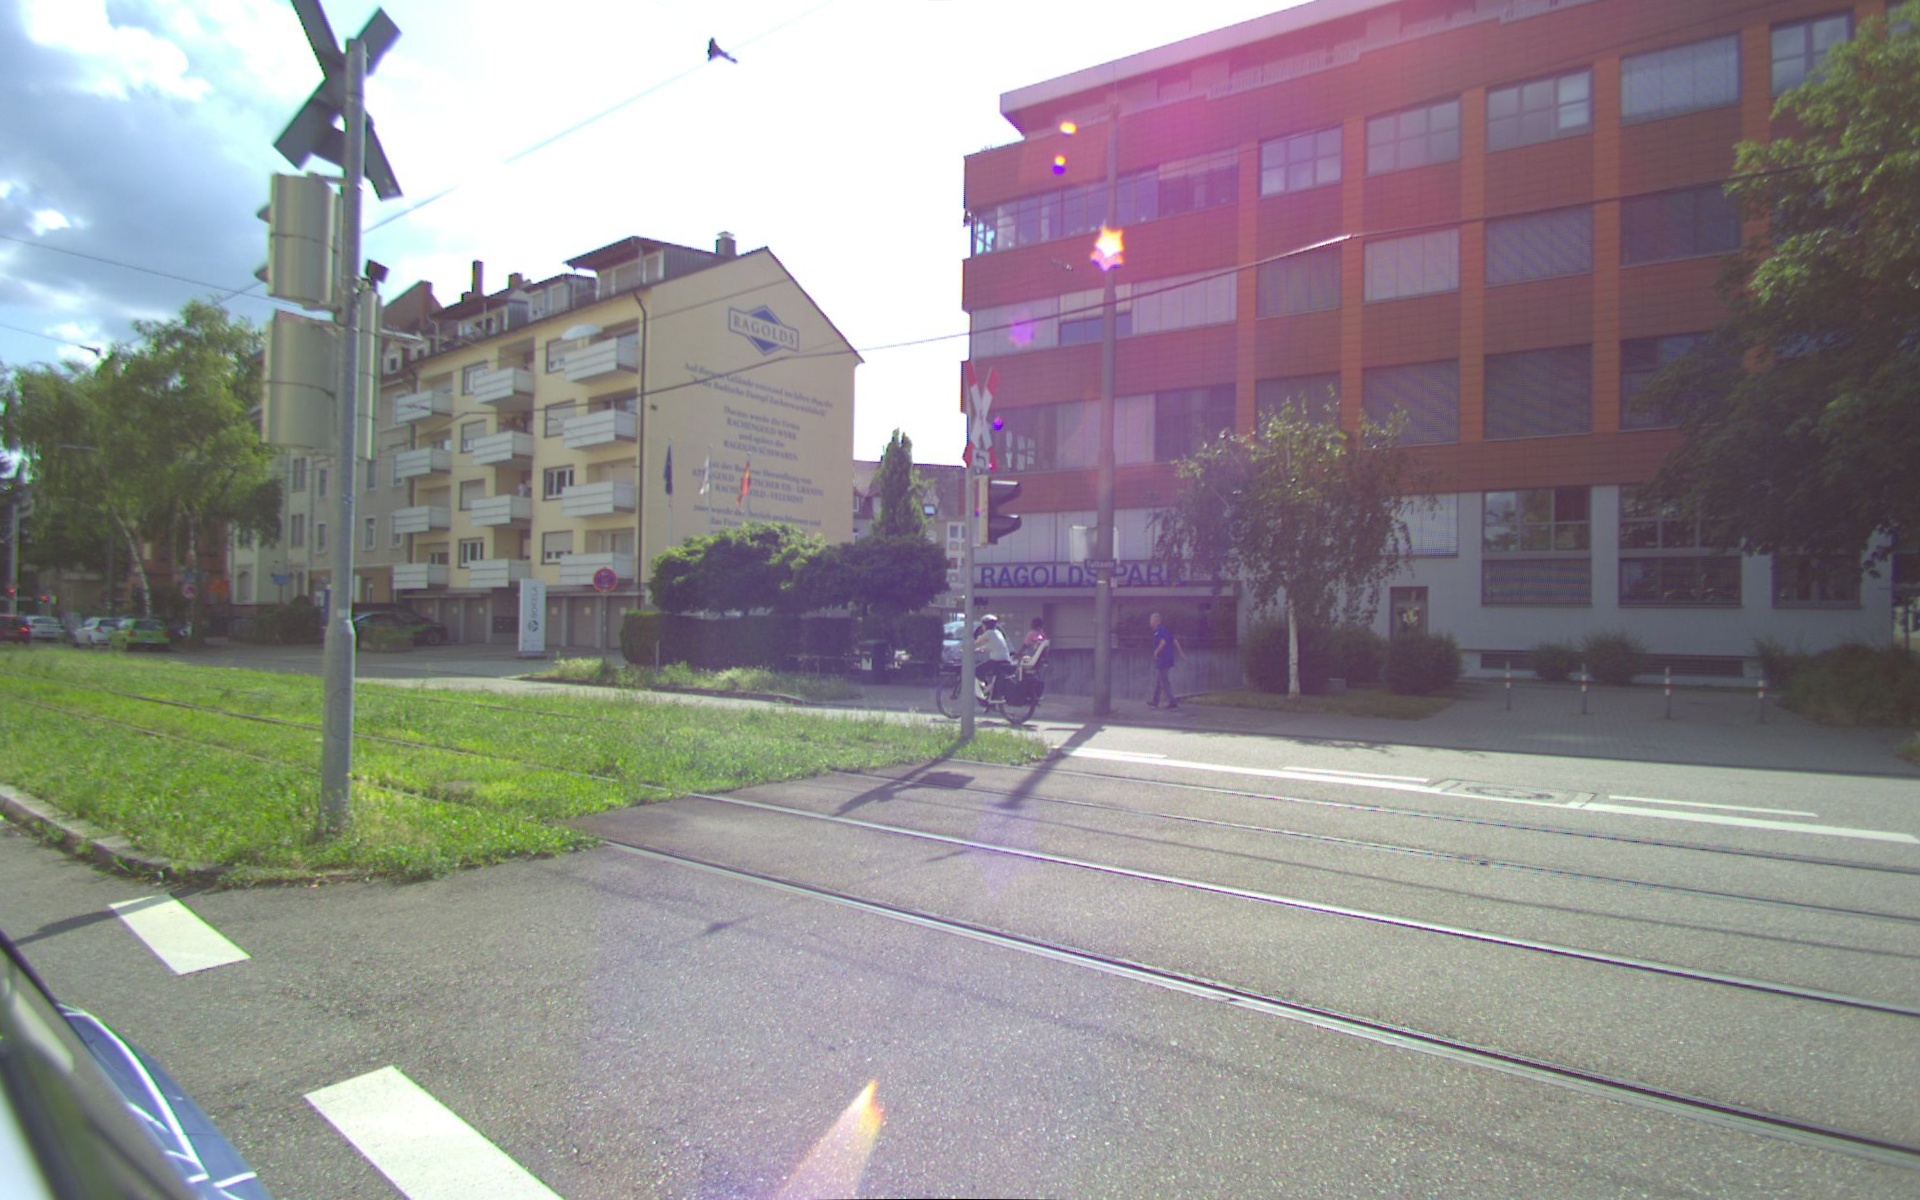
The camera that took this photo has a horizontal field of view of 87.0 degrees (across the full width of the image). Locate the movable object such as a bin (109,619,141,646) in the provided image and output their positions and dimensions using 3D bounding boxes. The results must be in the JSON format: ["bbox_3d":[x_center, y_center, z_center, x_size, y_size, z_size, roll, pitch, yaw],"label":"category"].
[{"bbox_3d":[-45.240,1.731,54.854,1.519,1.377,0.942,-1,2,37],"label":"movable object such as a bin"}]

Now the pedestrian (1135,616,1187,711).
[{"bbox_3d":[3.649,1.143,18.399,0.746,1.669,0.551,-1,-2,40],"label":"pedestrian"}]

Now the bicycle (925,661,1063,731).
[{"bbox_3d":[0.519,1.492,16.060,2.174,0.978,0.674,-1,-3,36],"label":"bicycle"}]

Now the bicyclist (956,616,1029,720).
[{"bbox_3d":[0.517,1.067,16.067,0.861,1.594,0.778,-1,-3,35],"label":"bicyclist"}]

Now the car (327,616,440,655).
[{"bbox_3d":[-25.600,1.535,45.061,1.970,1.614,3.950,-1,-1,37],"label":"car"}]

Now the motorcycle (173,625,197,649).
[{"bbox_3d":[-36.732,1.735,47.970,1.630,1.050,0.494,1,2,37],"label":"motorcycle"}]

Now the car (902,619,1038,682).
[{"bbox_3d":[0.348,1.380,28.462,1.995,1.608,3.953,-1,-2,34],"label":"car"}]

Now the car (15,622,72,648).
[{"bbox_3d":[-51.163,1.959,56.449,3.991,1.366,1.738,-1,-3,39],"label":"car"}]

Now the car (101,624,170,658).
[{"bbox_3d":[-36.676,1.798,45.007,3.610,1.443,1.578,-1,-3,39],"label":"car"}]

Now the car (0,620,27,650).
[{"bbox_3d":[-47.159,1.702,49.565,3.688,1.397,1.563,-1,-3,38],"label":"car"}]

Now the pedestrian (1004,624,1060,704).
[{"bbox_3d":[1.478,1.303,20.894,0.889,1.586,0.738,-1,-2,40],"label":"pedestrian"}]

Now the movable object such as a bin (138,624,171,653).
[{"bbox_3d":[-40.297,1.911,50.607,1.519,1.440,0.942,-1,0,37],"label":"movable object such as a bin"}]

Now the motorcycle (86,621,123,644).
[{"bbox_3d":[-47.636,1.829,56.331,2.287,1.252,0.893,-1,-2,32],"label":"motorcycle"}]

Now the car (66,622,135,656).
[{"bbox_3d":[-40.853,1.837,48.078,4.220,1.489,1.629,-1,-4,38],"label":"car"}]

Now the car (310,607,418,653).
[{"bbox_3d":[-27.582,1.351,46.928,1.936,2.029,3.946,-1,-1,41],"label":"car"}]
